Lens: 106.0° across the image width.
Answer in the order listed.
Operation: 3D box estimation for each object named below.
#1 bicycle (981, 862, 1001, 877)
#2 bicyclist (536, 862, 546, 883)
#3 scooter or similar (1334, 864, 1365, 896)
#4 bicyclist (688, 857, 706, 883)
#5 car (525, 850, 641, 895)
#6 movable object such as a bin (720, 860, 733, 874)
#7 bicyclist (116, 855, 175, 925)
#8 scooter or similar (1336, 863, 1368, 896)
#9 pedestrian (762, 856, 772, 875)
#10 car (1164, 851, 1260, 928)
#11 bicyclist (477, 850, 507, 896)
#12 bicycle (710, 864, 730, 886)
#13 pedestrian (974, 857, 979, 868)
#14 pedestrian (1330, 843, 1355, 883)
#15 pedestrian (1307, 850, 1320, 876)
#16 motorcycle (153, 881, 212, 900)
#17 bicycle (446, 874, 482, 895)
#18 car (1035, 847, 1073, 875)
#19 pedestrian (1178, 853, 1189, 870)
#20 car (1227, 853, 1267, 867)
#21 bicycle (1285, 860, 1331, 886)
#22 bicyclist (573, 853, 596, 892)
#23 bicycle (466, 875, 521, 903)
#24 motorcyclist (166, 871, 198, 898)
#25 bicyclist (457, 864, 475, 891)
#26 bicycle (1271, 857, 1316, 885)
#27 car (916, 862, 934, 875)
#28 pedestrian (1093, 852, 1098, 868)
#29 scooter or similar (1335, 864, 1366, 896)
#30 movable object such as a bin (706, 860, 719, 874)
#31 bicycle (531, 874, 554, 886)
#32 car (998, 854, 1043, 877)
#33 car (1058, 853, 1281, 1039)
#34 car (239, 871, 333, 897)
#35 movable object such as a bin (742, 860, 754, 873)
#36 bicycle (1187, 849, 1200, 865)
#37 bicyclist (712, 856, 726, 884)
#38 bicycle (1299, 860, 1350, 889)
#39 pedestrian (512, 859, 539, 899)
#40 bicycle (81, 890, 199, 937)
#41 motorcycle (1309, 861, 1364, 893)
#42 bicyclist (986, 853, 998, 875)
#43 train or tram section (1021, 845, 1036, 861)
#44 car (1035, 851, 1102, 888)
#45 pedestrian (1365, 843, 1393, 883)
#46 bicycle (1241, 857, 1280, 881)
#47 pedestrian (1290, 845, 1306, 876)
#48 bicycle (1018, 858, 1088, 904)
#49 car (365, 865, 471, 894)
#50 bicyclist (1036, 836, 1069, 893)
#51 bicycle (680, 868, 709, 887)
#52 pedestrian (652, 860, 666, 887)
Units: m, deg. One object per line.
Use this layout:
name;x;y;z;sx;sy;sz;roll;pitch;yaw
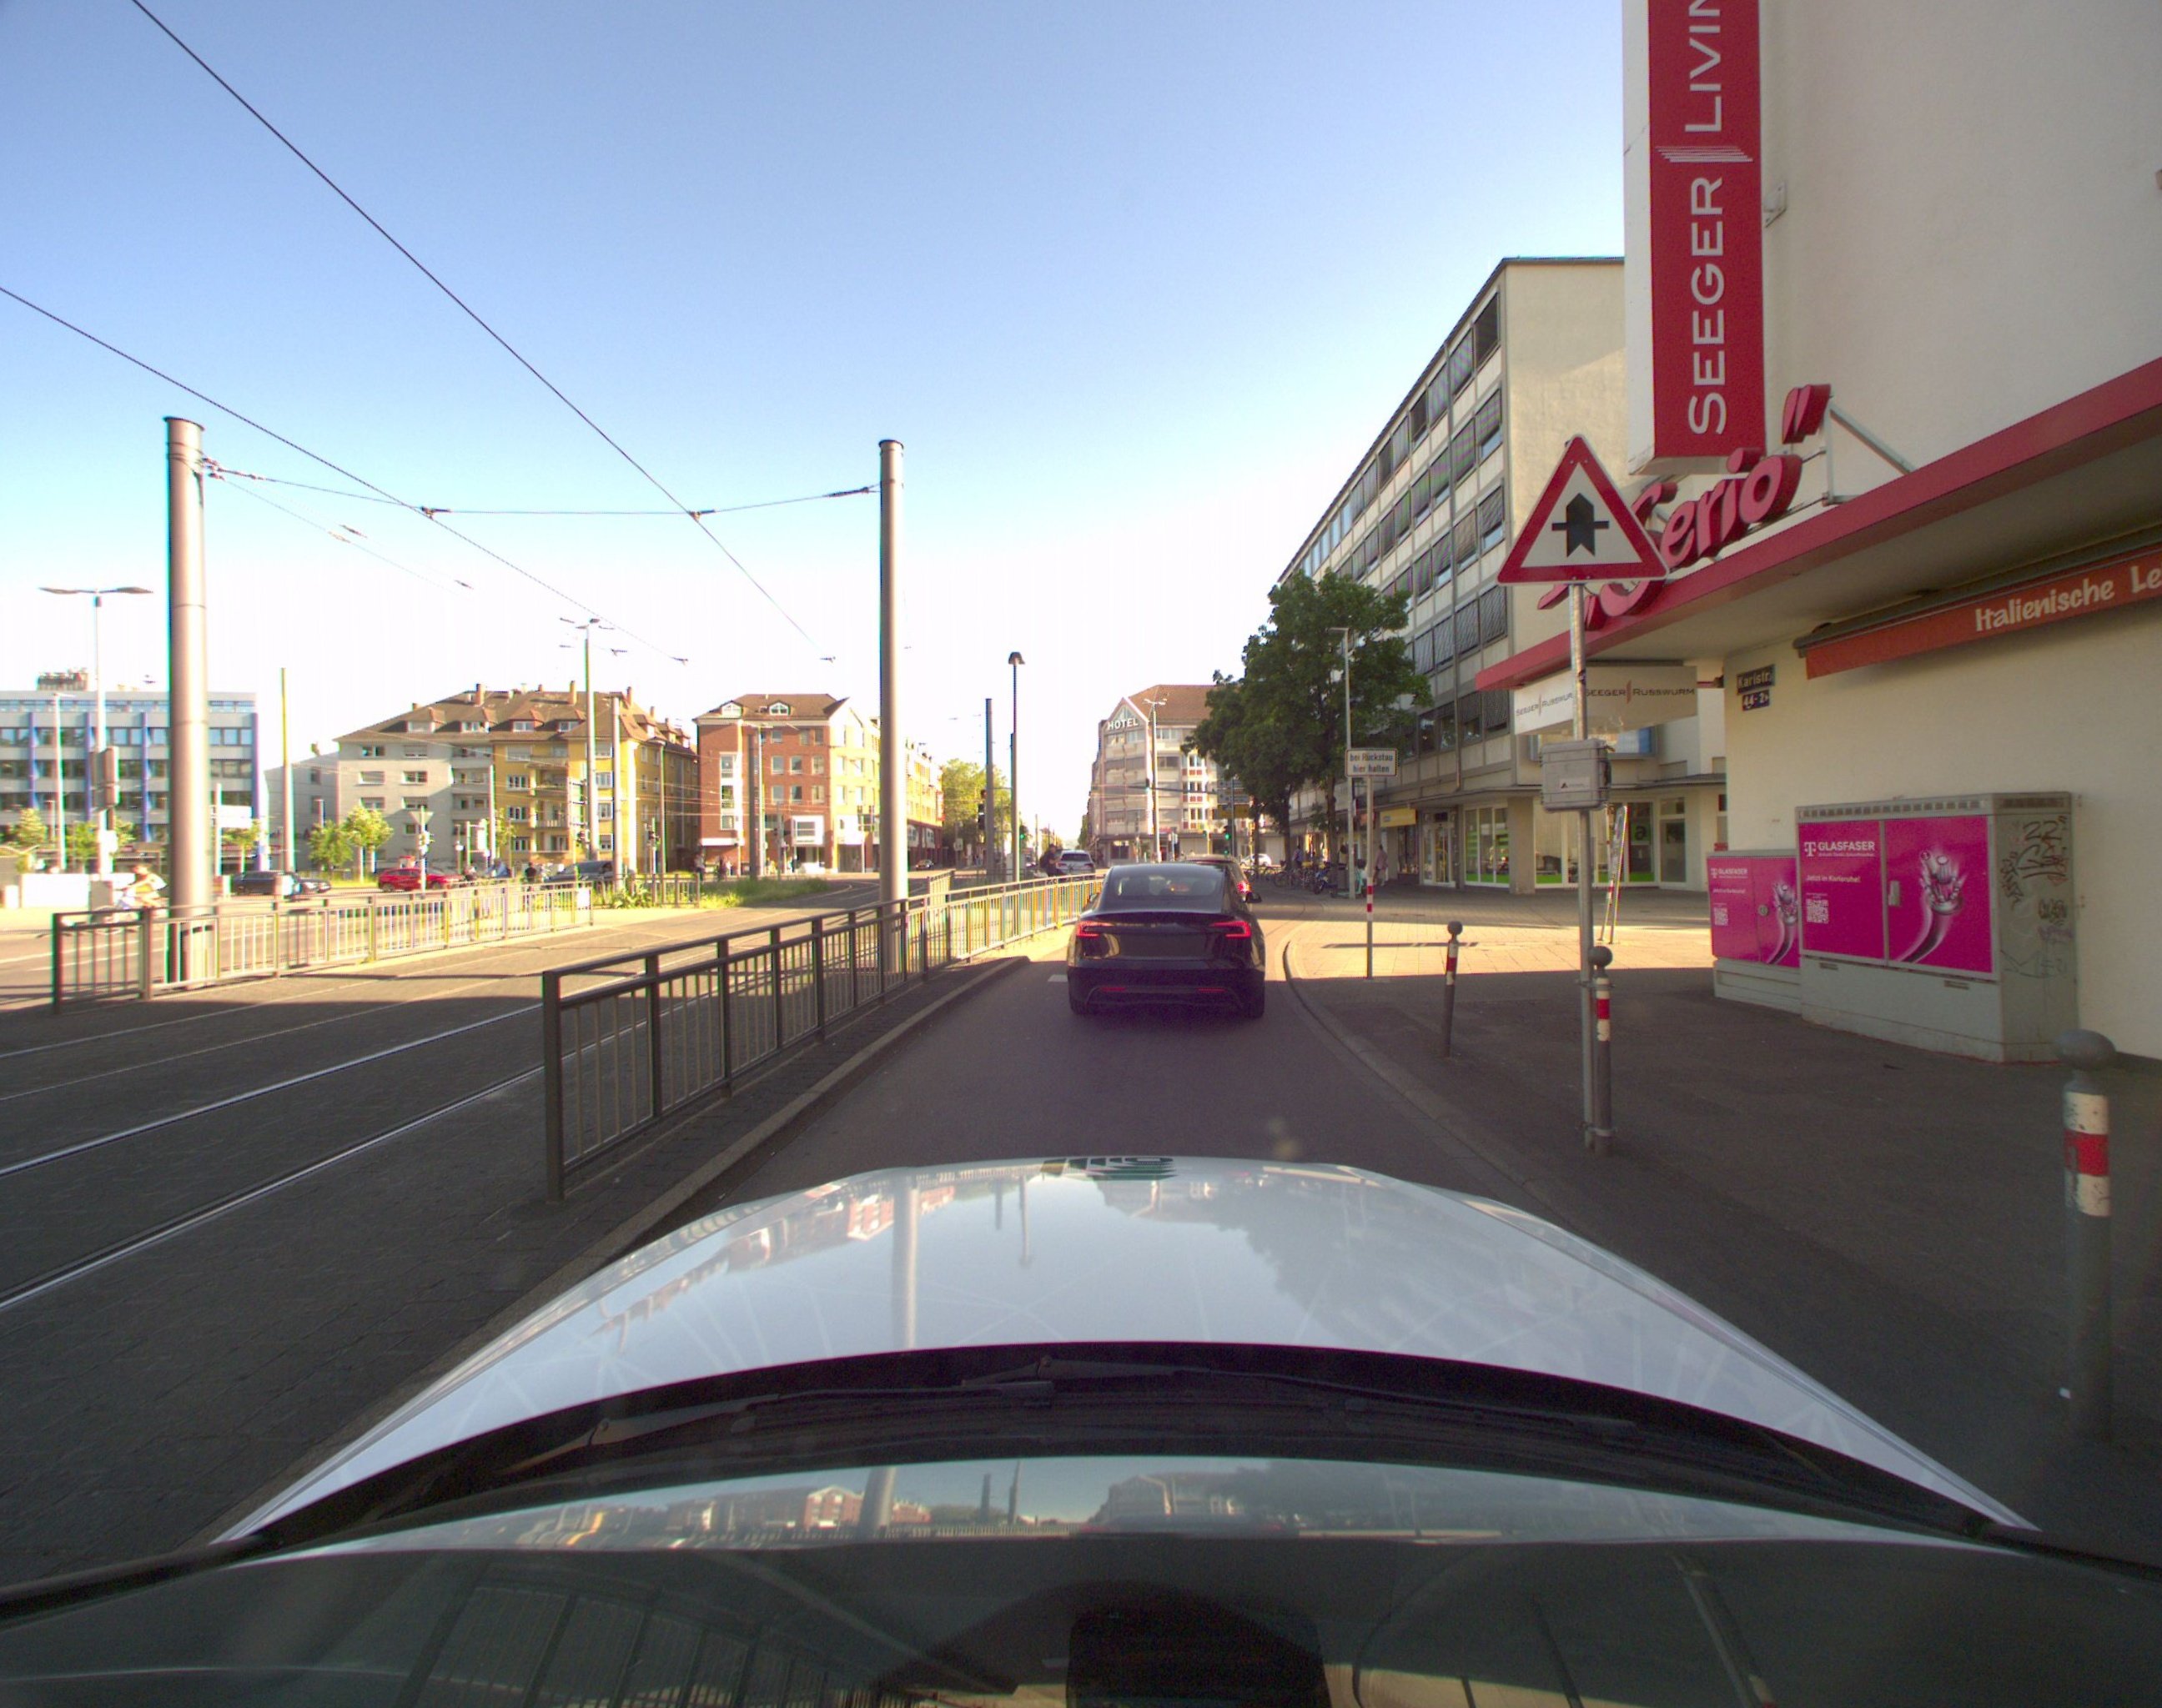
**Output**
bicycle;-7.435;1.255;67.082;0.632;1.223;2.016;0;-1;-42
bicyclist;-34.693;1.187;52.308;0.459;1.316;0.398;0;-1;-14
scooter or similar;8.969;0.868;27.248;0.959;1.027;0.160;-1;0;4
bicyclist;-21.798;0.920;46.203;0.661;1.454;0.731;0;-1;3
car;-18.442;0.658;30.411;1.678;1.560;4.124;0;-1;2
movable object such as a bin;-38.286;1.410;87.951;0.995;1.437;1.093;0;-1;-8
bicyclist;-23.020;0.874;20.048;0.522;1.673;0.772;-1;-1;8
scooter or similar;8.940;0.843;26.850;0.959;1.043;0.160;-1;0;4
pedestrian;-29.613;1.083;76.779;0.694;1.710;0.928;0;-1;-5
car;2.711;0.656;17.495;1.755;1.444;4.537;0;0;7
bicyclist;-22.042;0.704;30.486;0.518;1.673;0.772;0;-1;7
bicycle;-21.765;1.231;49.089;0.573;1.291;2.021;0;-1;-8
pedestrian;-14.061;1.156;109.624;0.584;1.531;0.634;0;-1;-16
pedestrian;11.342;0.409;35.346;0.840;1.707;0.880;0;-1;1
pedestrian;12.682;0.482;44.394;0.640;1.422;0.623;-1;-1;13
motorcycle;-51.748;2.097;46.917;2.355;0.984;0.790;0;-1;-6
bicycle;-34.812;1.697;45.943;1.497;1.133;0.609;0;-1;-13
car;-1.703;0.446;49.443;1.575;1.618;3.765;0;-1;-14
pedestrian;9.479;0.713;75.488;0.780;1.576;0.864;0;1;-13
car;17.567;0.638;86.174;3.832;1.432;1.801;-1;-2;-4
bicycle;9.260;0.773;33.282;1.758;1.057;0.459;0;-1;6
bicyclist;-21.832;0.798;35.830;0.518;1.673;0.771;0;-1;3
bicycle;-22.034;1.297;30.565;0.527;1.013;1.889;0;-1;7
motorcyclist;-51.767;1.747;46.914;0.919;1.524;0.781;0;-1;-5
bicyclist;-34.722;1.299;45.975;0.615;1.493;0.607;0;-1;-12
bicycle;9.181;0.745;35.237;1.805;1.151;0.435;-1;-1;-3
car;-20.081;1.844;104.963;1.813;1.454;3.972;-2;0;-4
pedestrian;1.669;0.692;94.949;0.624;1.782;0.917;0;-1;0
scooter or similar;8.955;0.857;27.048;0.952;1.039;0.160;-1;0;4
movable object such as a bin;-39.634;1.412;87.679;0.995;1.437;1.093;0;-1;-8
bicycle;-34.582;1.693;52.332;1.174;0.764;0.318;0;-1;-15
car;-4.328;0.822;57.685;1.737;1.551;3.438;0;-1;-32
car;0.896;0.741;8.552;1.782;1.450;3.946;0;1;5
car;-46.388;1.731;47.565;3.695;1.472;1.572;0;-1;-6
movable object such as a bin;-36.001;1.362;88.065;0.995;1.437;1.093;0;-1;-8
bicycle;10.484;0.290;75.720;0.583;1.463;1.678;-1;0;-13
bicyclist;-21.725;0.953;48.845;0.588;1.649;0.803;0;-1;-10
bicycle;9.330;0.778;31.244;1.850;1.056;0.398;-2;0;-10
pedestrian;-27.711;1.234;40.627;0.718;1.934;0.800;-1;-1;9
bicycle;-23.022;1.430;19.983;0.526;1.013;1.901;-1;-1;8
motorcycle;9.126;0.822;29.100;1.781;1.130;0.504;0;-1;-1
bicyclist;-7.328;0.796;66.961;0.617;1.772;0.820;0;-1;-41
train or tram section;-11.858;-0.193;184.187;2.720;3.542;10.084;0;-1;0
car;-0.634;0.687;37.768;1.848;1.635;3.457;0;-1;-25
pedestrian;12.332;0.369;33.743;0.840;1.602;0.880;0;-1;1
bicycle;9.340;0.763;42.329;1.882;1.156;0.480;-2;-1;2
pedestrian;11.940;0.364;44.890;0.837;1.721;0.883;-1;-1;14
bicycle;-0.759;0.719;22.403;1.831;1.212;0.635;0;-1;-29
car;-39.259;1.494;48.325;4.548;1.509;1.777;-2;0;-9
bicyclist;-0.780;0.289;22.399;0.685;1.523;0.629;0;-1;-29
bicycle;-21.849;1.313;46.050;0.647;1.013;1.887;0;-1;4
pedestrian;-27.022;1.258;52.163;0.624;1.688;0.703;0;1;-11
